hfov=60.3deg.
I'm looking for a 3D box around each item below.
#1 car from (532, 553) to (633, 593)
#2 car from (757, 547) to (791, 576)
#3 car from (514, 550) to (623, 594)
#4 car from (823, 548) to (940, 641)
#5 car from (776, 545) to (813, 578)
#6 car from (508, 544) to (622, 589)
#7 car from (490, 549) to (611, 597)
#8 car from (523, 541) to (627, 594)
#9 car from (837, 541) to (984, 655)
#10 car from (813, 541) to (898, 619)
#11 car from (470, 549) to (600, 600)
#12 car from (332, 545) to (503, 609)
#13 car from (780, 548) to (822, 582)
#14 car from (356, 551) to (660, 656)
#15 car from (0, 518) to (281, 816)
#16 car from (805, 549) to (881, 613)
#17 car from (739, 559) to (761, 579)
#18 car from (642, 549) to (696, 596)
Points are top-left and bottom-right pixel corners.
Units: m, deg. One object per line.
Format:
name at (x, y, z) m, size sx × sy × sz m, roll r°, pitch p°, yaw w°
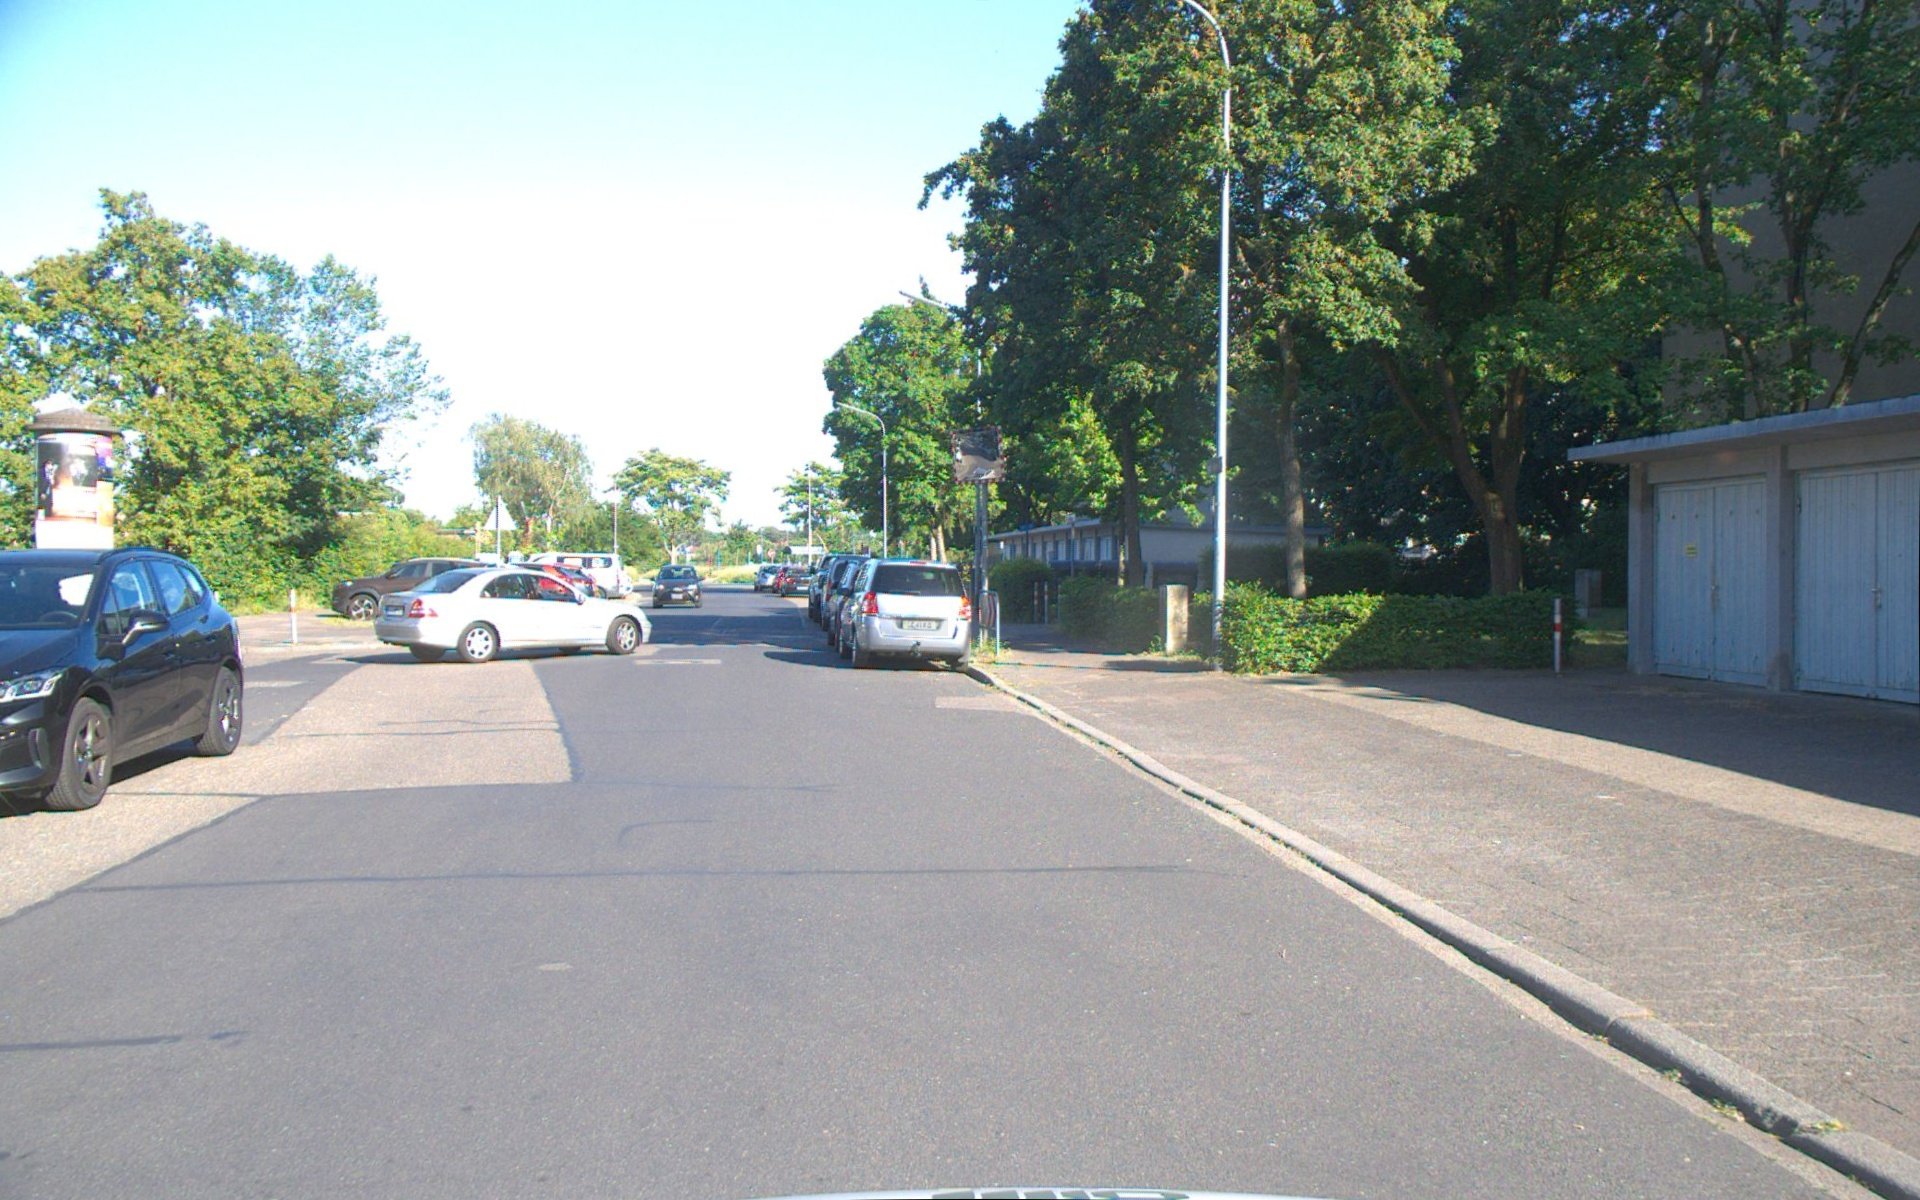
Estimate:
car at (-15.524, -1.111, 68.104) m, size 3.982 × 1.589 × 1.797 m, roll 0°, pitch 1°, yaw -12°
car at (-10.921, -2.279, 96.917) m, size 1.762 × 1.672 × 3.944 m, roll 1°, pitch 2°, yaw -9°
car at (-14.862, -1.075, 62.970) m, size 3.982 × 1.589 × 1.797 m, roll 0°, pitch 1°, yaw -12°
car at (-1.516, -0.149, 30.549) m, size 1.762 × 1.588 × 3.944 m, roll 1°, pitch 2°, yaw -9°
car at (-8.761, -2.034, 87.340) m, size 1.762 × 1.672 × 3.944 m, roll 1°, pitch 2°, yaw -9°
car at (-14.433, -1.218, 60.597) m, size 3.982 × 1.589 × 1.797 m, roll 0°, pitch 1°, yaw -12°
car at (-14.165, -0.939, 57.439) m, size 3.982 × 1.589 × 1.797 m, roll 0°, pitch 1°, yaw -12°
car at (-15.294, -1.300, 65.871) m, size 3.982 × 2.026 × 1.797 m, roll 0°, pitch 1°, yaw -12°
car at (-0.836, -0.082, 25.270) m, size 1.762 × 1.588 × 3.944 m, roll 1°, pitch 2°, yaw -9°
car at (-2.647, -0.523, 41.054) m, size 1.762 × 1.817 × 3.944 m, roll 1°, pitch 2°, yaw -9°
car at (-13.707, -0.840, 53.538) m, size 3.982 × 1.589 × 1.797 m, roll 0°, pitch 1°, yaw -12°
car at (-13.949, -0.598, 42.751) m, size 3.982 × 1.589 × 1.797 m, roll 0°, pitch 1°, yaw -12°
car at (-7.712, -1.712, 79.951) m, size 1.762 × 1.575 × 3.944 m, roll 1°, pitch 2°, yaw -9°
car at (-7.138, -0.001, 26.441) m, size 1.812 × 1.461 × 4.371 m, roll 0°, pitch 3°, yaw 44°
car at (-6.155, 0.324, 11.184) m, size 1.713 × 1.641 × 4.302 m, roll -2°, pitch 2°, yaw -6°
car at (-3.252, -0.563, 45.523) m, size 1.762 × 1.672 × 3.944 m, roll 1°, pitch 2°, yaw -9°
car at (-18.190, -2.670, 142.884) m, size 1.762 × 1.672 × 3.944 m, roll 1°, pitch 2°, yaw -9°
car at (-10.341, -1.013, 58.951) m, size 1.762 × 1.588 × 3.944 m, roll 1°, pitch 2°, yaw -9°
